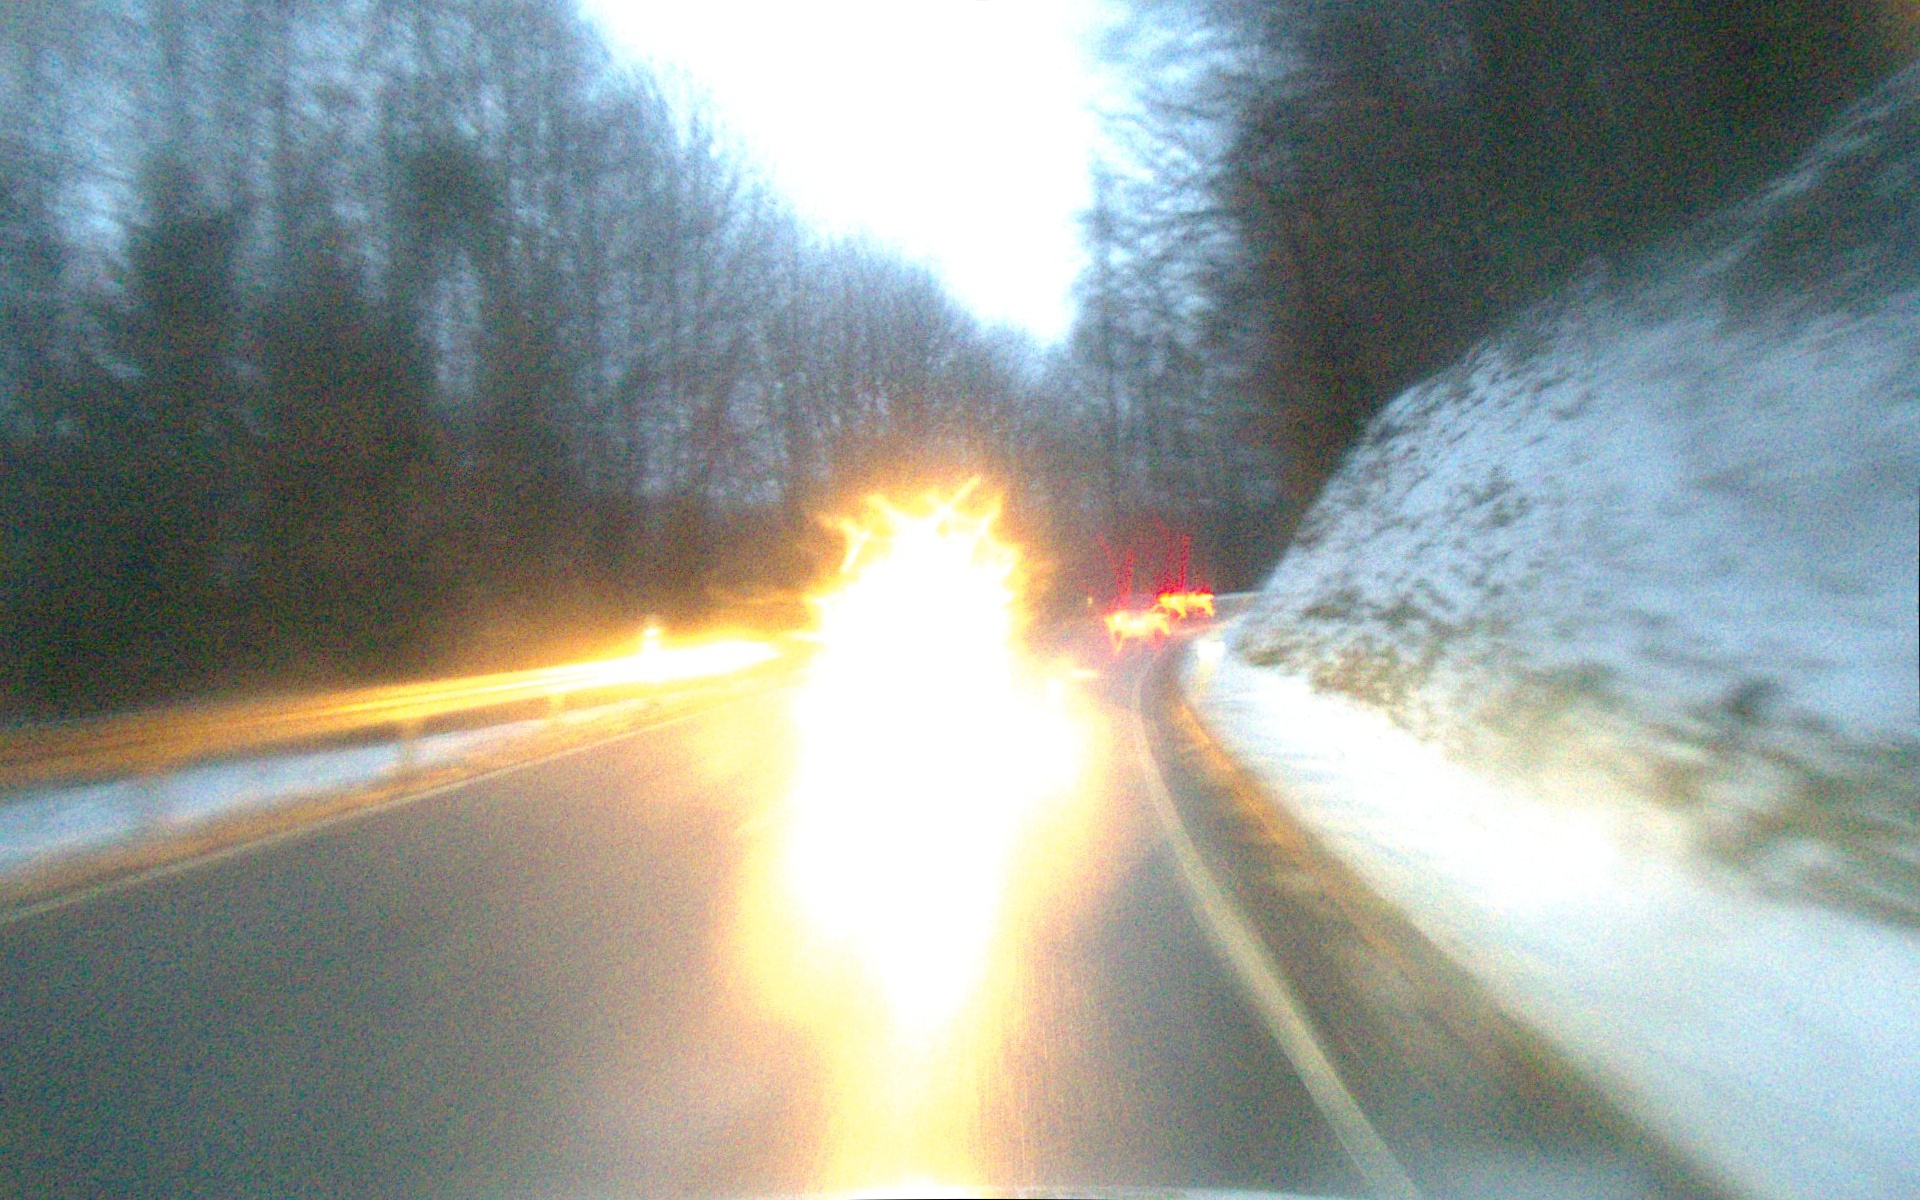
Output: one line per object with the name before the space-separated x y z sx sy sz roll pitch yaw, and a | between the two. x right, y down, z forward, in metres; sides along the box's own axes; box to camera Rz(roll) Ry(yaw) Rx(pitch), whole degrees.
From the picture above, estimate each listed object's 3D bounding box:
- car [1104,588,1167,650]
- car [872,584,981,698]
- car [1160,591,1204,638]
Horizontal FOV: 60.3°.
car | 5.735 0.655 53.840 1.951 1.905 4.002 0 -2 6
car | -0.609 0.894 33.336 1.952 2.049 4.000 1 -4 2
car | 10.496 0.710 78.023 1.828 1.952 4.002 2 -3 9
